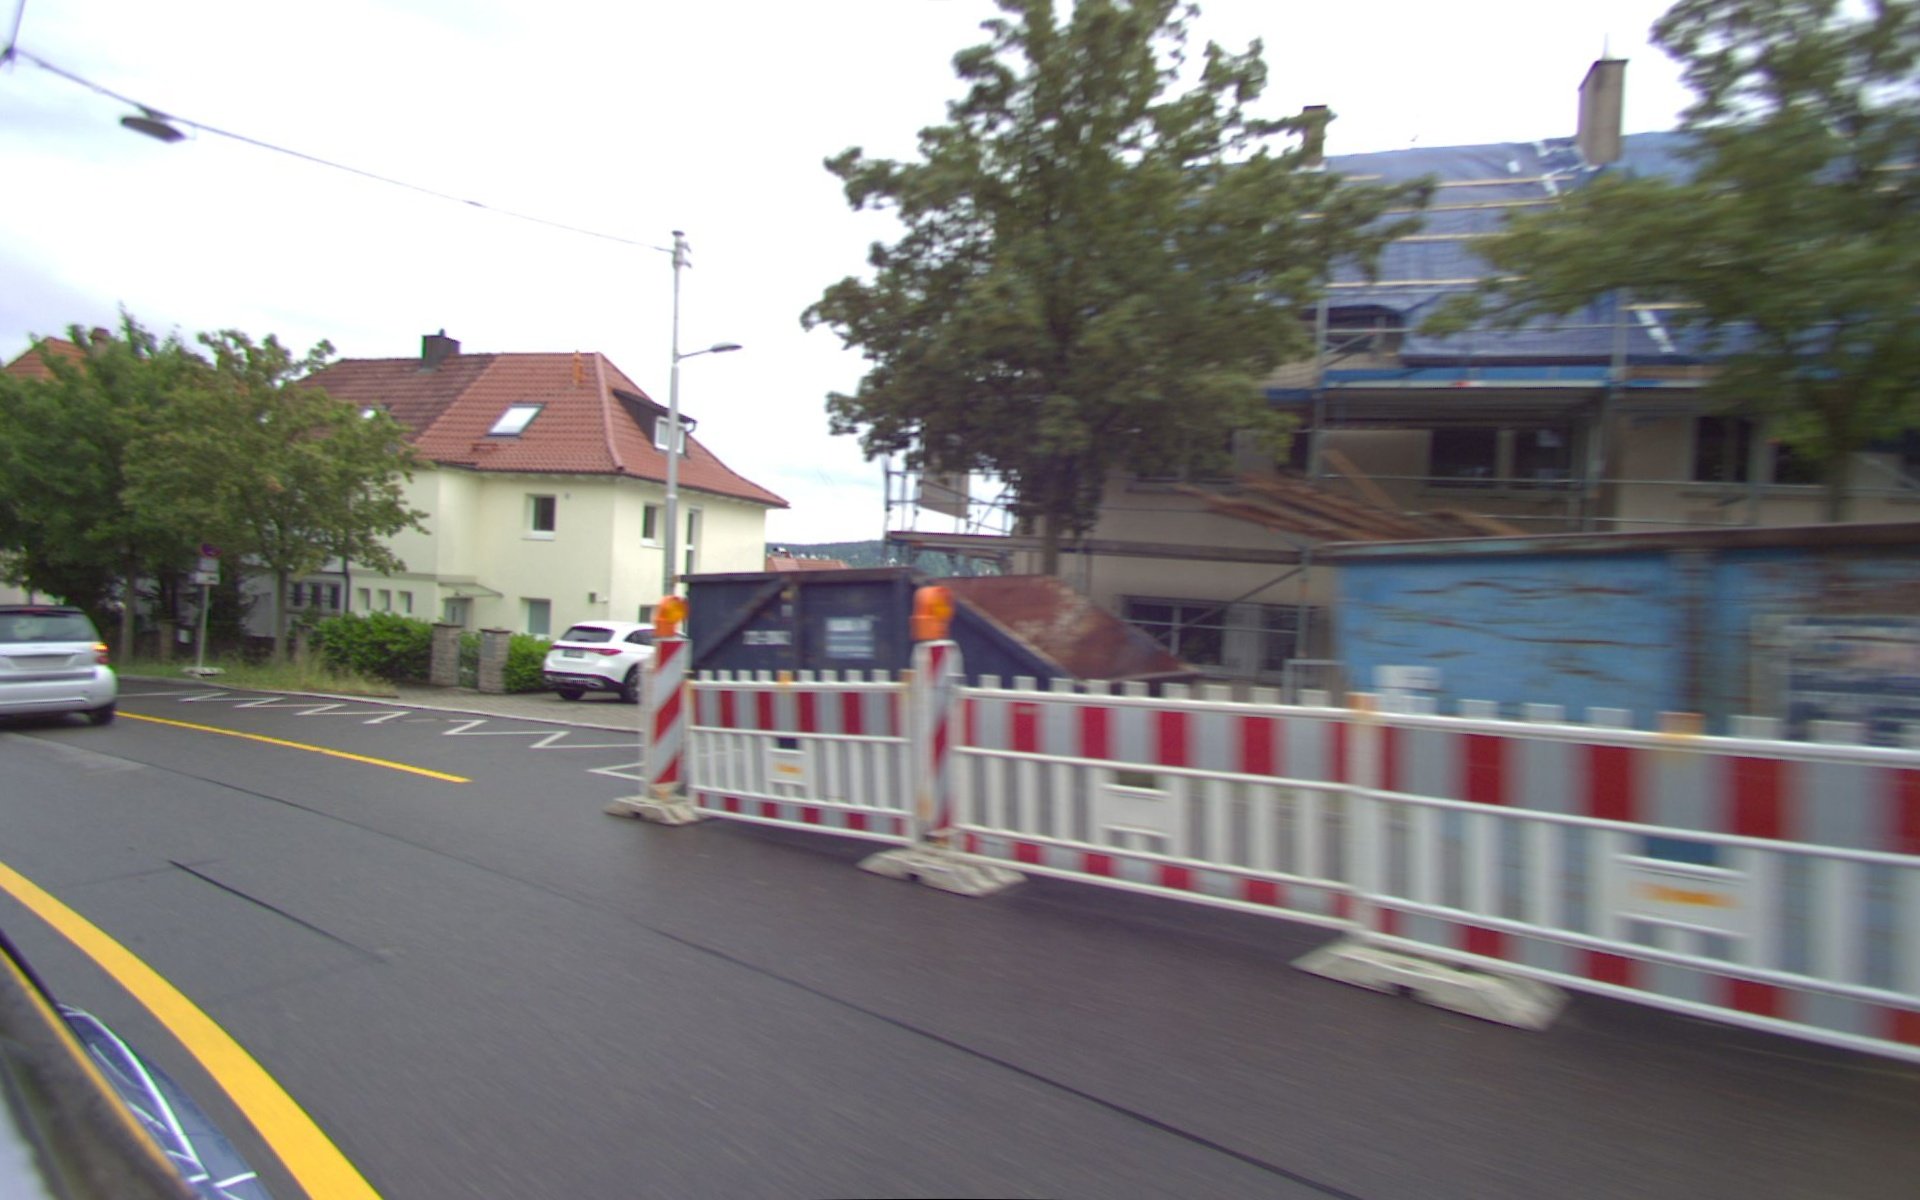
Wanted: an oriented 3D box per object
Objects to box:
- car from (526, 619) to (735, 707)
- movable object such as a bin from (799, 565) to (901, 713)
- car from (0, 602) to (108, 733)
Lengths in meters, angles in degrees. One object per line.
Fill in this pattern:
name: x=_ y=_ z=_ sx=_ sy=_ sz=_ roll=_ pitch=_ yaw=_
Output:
car: x=-6.804 y=1.329 z=21.416 sx=1.937 sy=1.616 sz=4.179 roll=1 pitch=-3 yaw=22
movable object such as a bin: x=-1.959 y=0.683 z=18.184 sx=1.378 sy=2.525 sz=1.306 roll=0 pitch=-1 yaw=24
car: x=-12.284 y=0.807 z=13.026 sx=2.919 sy=1.537 sz=1.442 roll=-1 pitch=0 yaw=38
